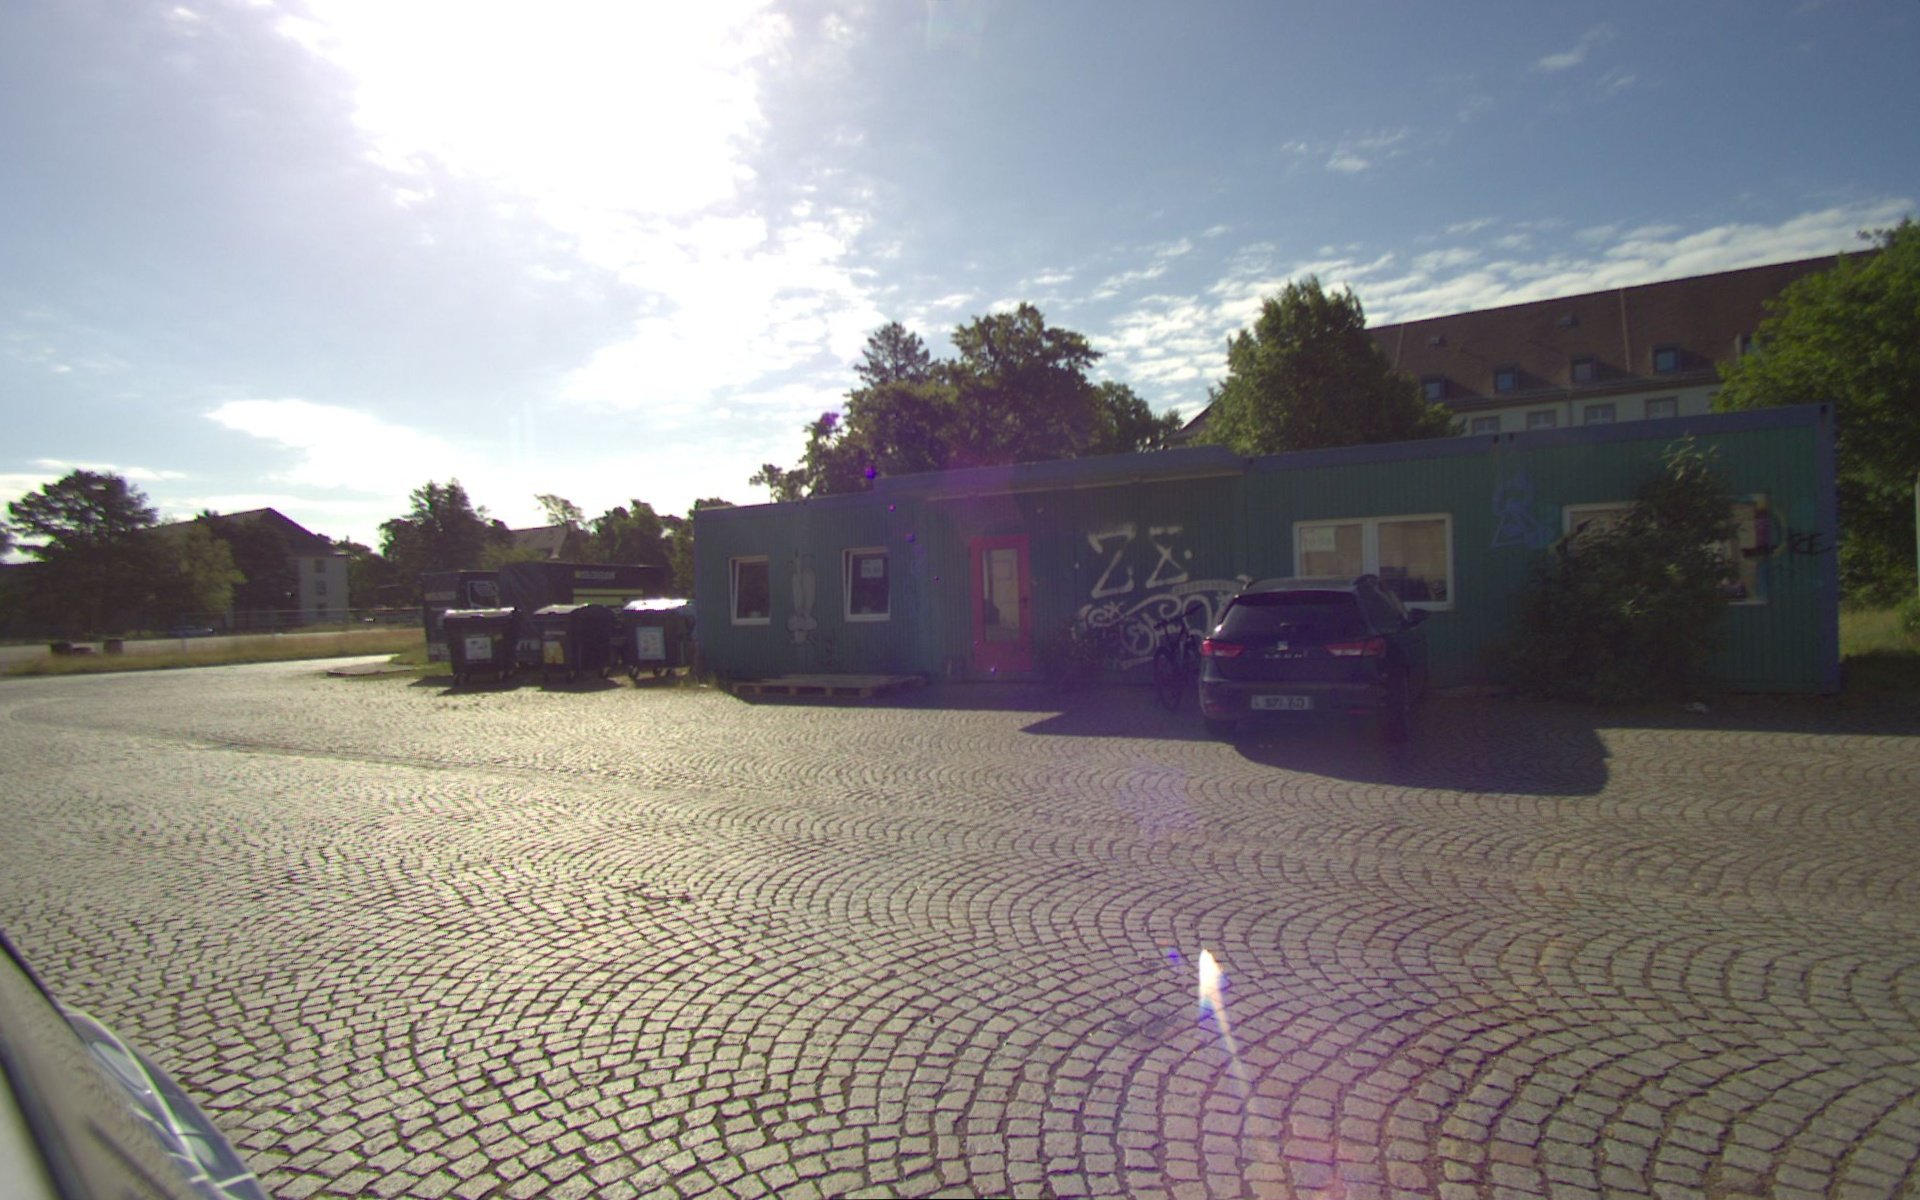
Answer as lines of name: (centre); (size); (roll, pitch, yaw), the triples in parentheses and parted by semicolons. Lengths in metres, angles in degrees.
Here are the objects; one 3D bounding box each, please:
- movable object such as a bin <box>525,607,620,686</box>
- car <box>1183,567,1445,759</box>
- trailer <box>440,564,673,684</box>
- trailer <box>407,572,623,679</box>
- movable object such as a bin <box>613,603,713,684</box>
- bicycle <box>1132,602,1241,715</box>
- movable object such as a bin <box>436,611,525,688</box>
movable object such as a bin: (-7.347, 0.867, 19.182); (1.366, 1.396, 1.071); (-2, 0, 35)
car: (3.601, 0.443, 9.795); (1.724, 1.423, 4.023); (-2, 1, 29)
trailer: (-8.951, 0.438, 22.936); (1.932, 2.409, 4.814); (-2, 1, 26)
trailer: (-10.688, 0.538, 24.642); (2.007, 2.290, 4.422); (-2, 1, 31)
movable object such as a bin: (-5.566, 0.807, 19.011); (1.398, 1.447, 1.081); (-2, 0, 20)
bicycle: (2.624, 0.636, 11.578); (0.671, 1.109, 1.696); (-2, 1, 31)
movable object such as a bin: (-9.378, 0.949, 19.856); (1.342, 1.396, 1.050); (-2, 0, -11)
